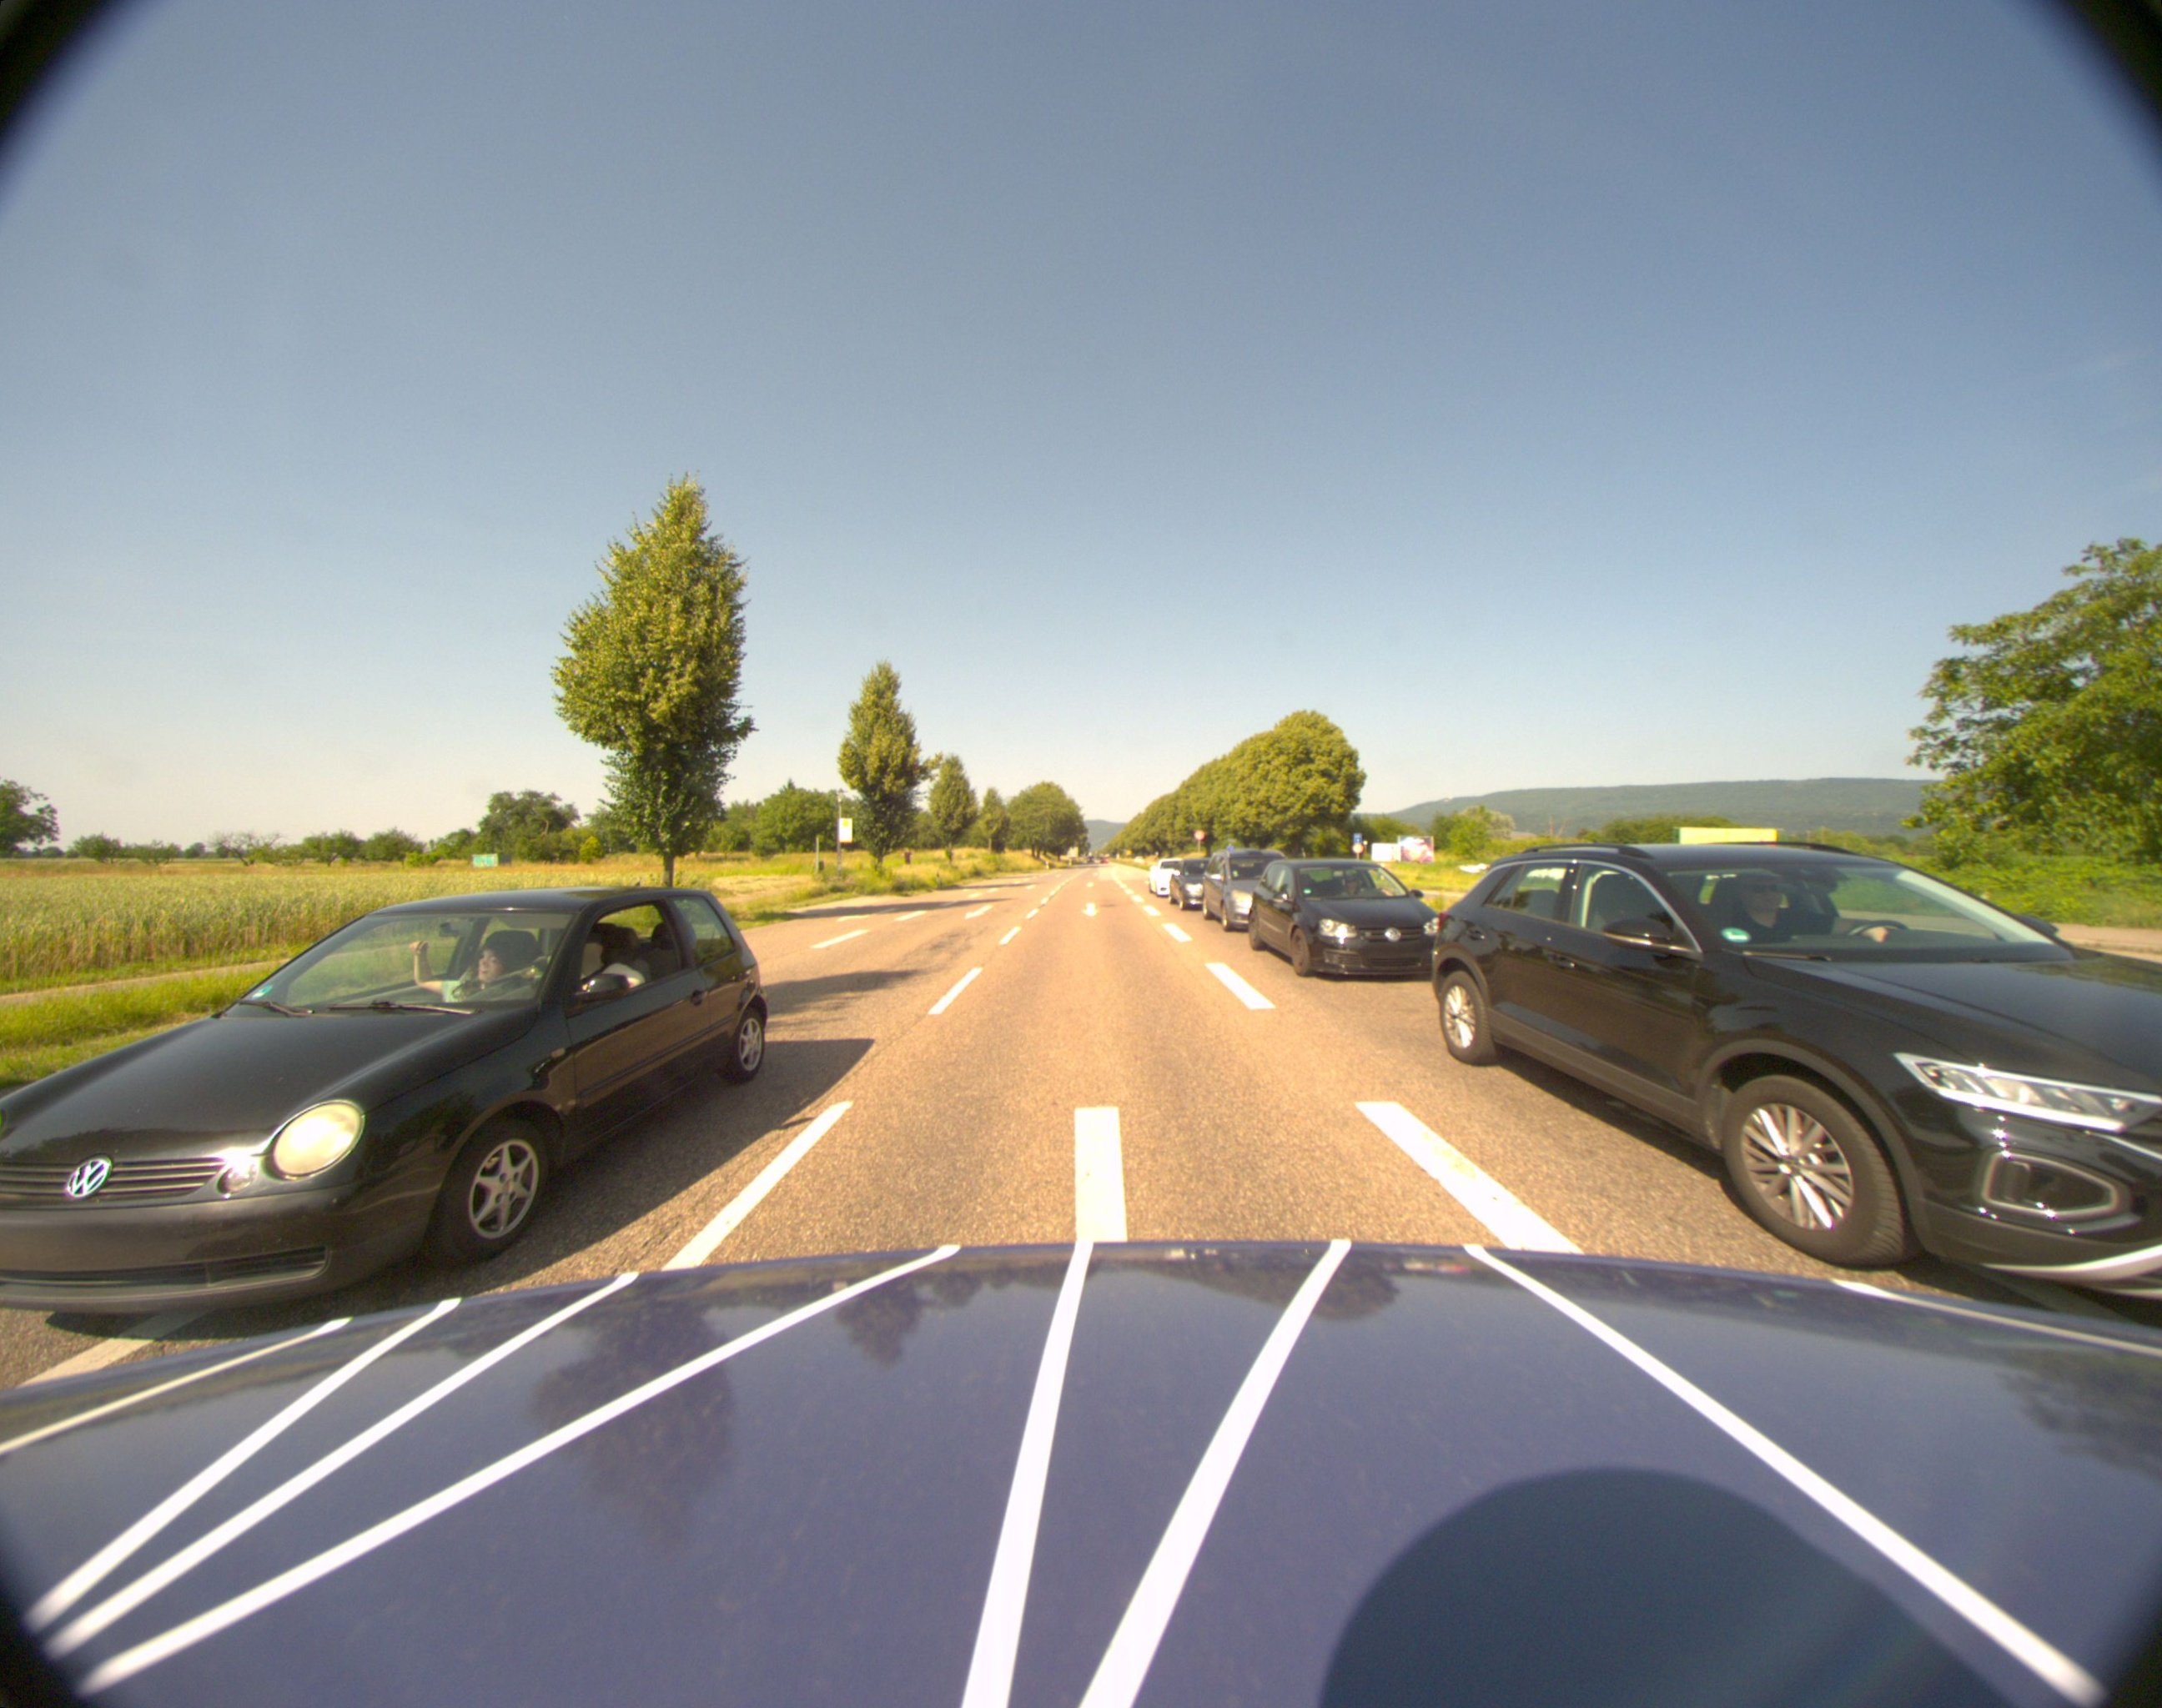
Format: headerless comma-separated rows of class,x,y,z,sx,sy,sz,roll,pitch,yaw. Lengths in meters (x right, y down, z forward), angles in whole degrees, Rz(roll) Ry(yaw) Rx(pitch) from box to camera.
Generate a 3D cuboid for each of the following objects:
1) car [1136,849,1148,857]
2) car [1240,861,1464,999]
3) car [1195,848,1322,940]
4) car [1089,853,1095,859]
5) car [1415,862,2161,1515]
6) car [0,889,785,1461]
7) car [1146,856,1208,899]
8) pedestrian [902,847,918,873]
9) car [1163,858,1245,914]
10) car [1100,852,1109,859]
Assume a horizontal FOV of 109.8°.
car,11.862,-0.120,147.974,1.887,1.506,4.148,-1,0,1
car,3.430,0.867,10.469,1.670,1.466,4.098,-1,0,1
car,3.613,0.744,16.261,1.745,1.662,4.357,-1,0,1
car,2.835,0.499,197.591,1.680,1.499,3.725,0,0,1
car,3.453,0.848,3.901,1.733,1.538,4.098,-1,0,1
car,-3.113,1.009,3.962,1.629,1.425,3.622,-2,0,1
car,3.600,0.841,29.143,1.808,1.417,4.641,-1,0,1
pedestrian,-12.543,0.442,55.831,0.904,1.828,1.194,0,0,-1
car,3.485,0.863,22.214,1.719,1.402,4.355,-2,0,1
car,4.903,0.352,157.469,1.680,1.499,3.725,0,0,1
